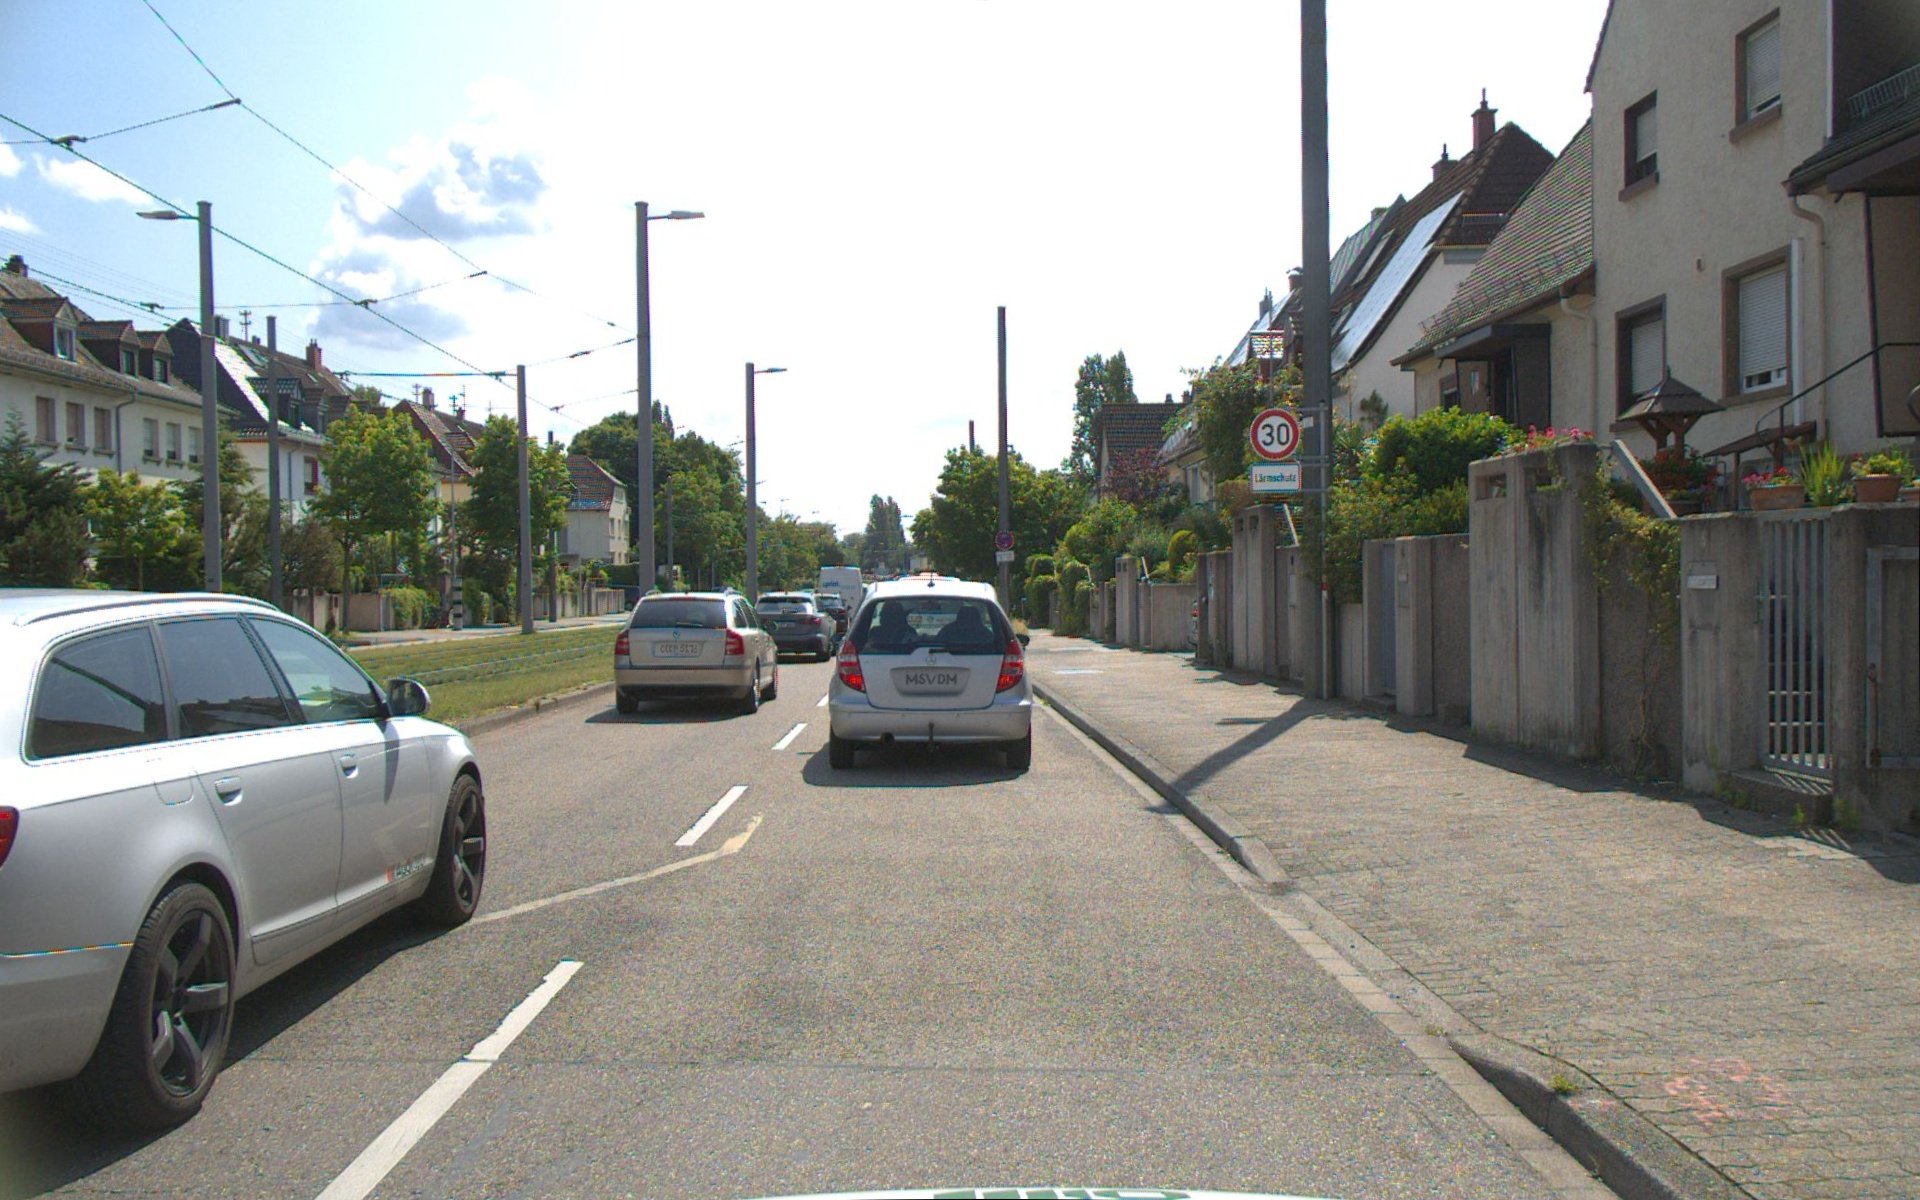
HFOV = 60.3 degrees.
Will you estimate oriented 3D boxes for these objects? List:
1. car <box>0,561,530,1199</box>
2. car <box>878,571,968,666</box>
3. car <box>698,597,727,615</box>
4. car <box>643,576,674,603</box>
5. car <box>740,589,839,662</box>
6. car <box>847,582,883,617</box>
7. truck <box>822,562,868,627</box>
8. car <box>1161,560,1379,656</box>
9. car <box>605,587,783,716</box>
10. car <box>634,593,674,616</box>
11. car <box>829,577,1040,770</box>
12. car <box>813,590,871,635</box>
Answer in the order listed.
[{"bbox_3d":[-2.965,0.665,5.777,1.758,1.497,4.721,0,0,-1],"label":"car"},{"bbox_3d":[-0.748,0.345,33.772,1.695,1.793,4.015,1,0,-1],"label":"car"},{"bbox_3d":[-22.116,0.543,147.899,1.877,1.503,4.562,1,0,0],"label":"car"},{"bbox_3d":[-26.749,-0.933,146.687,1.877,2.371,4.562,1,0,0],"label":"car"},{"bbox_3d":[-3.754,0.524,37.049,1.878,1.503,4.560,1,0,-2],"label":"car"},{"bbox_3d":[-5.862,-0.030,102.432,1.877,2.113,4.562,1,0,0],"label":"car"},{"bbox_3d":[-4.844,-0.237,70.131,1.815,2.597,5.851,1,0,-3],"label":"truck"},{"bbox_3d":[6.204,0.145,33.399,3.909,1.713,1.998,-2,0,-5],"label":"car"},{"bbox_3d":[-3.301,0.588,21.230,1.696,1.474,4.122,1,0,-1],"label":"car"},{"bbox_3d":[-20.817,0.288,112.673,1.877,1.503,4.562,1,0,0],"label":"car"},{"bbox_3d":[-0.273,0.590,15.419,1.695,1.543,4.015,1,0,-2],"label":"car"},{"bbox_3d":[-3.874,0.384,54.725,1.815,1.412,4.511,1,0,-3],"label":"car"}]
